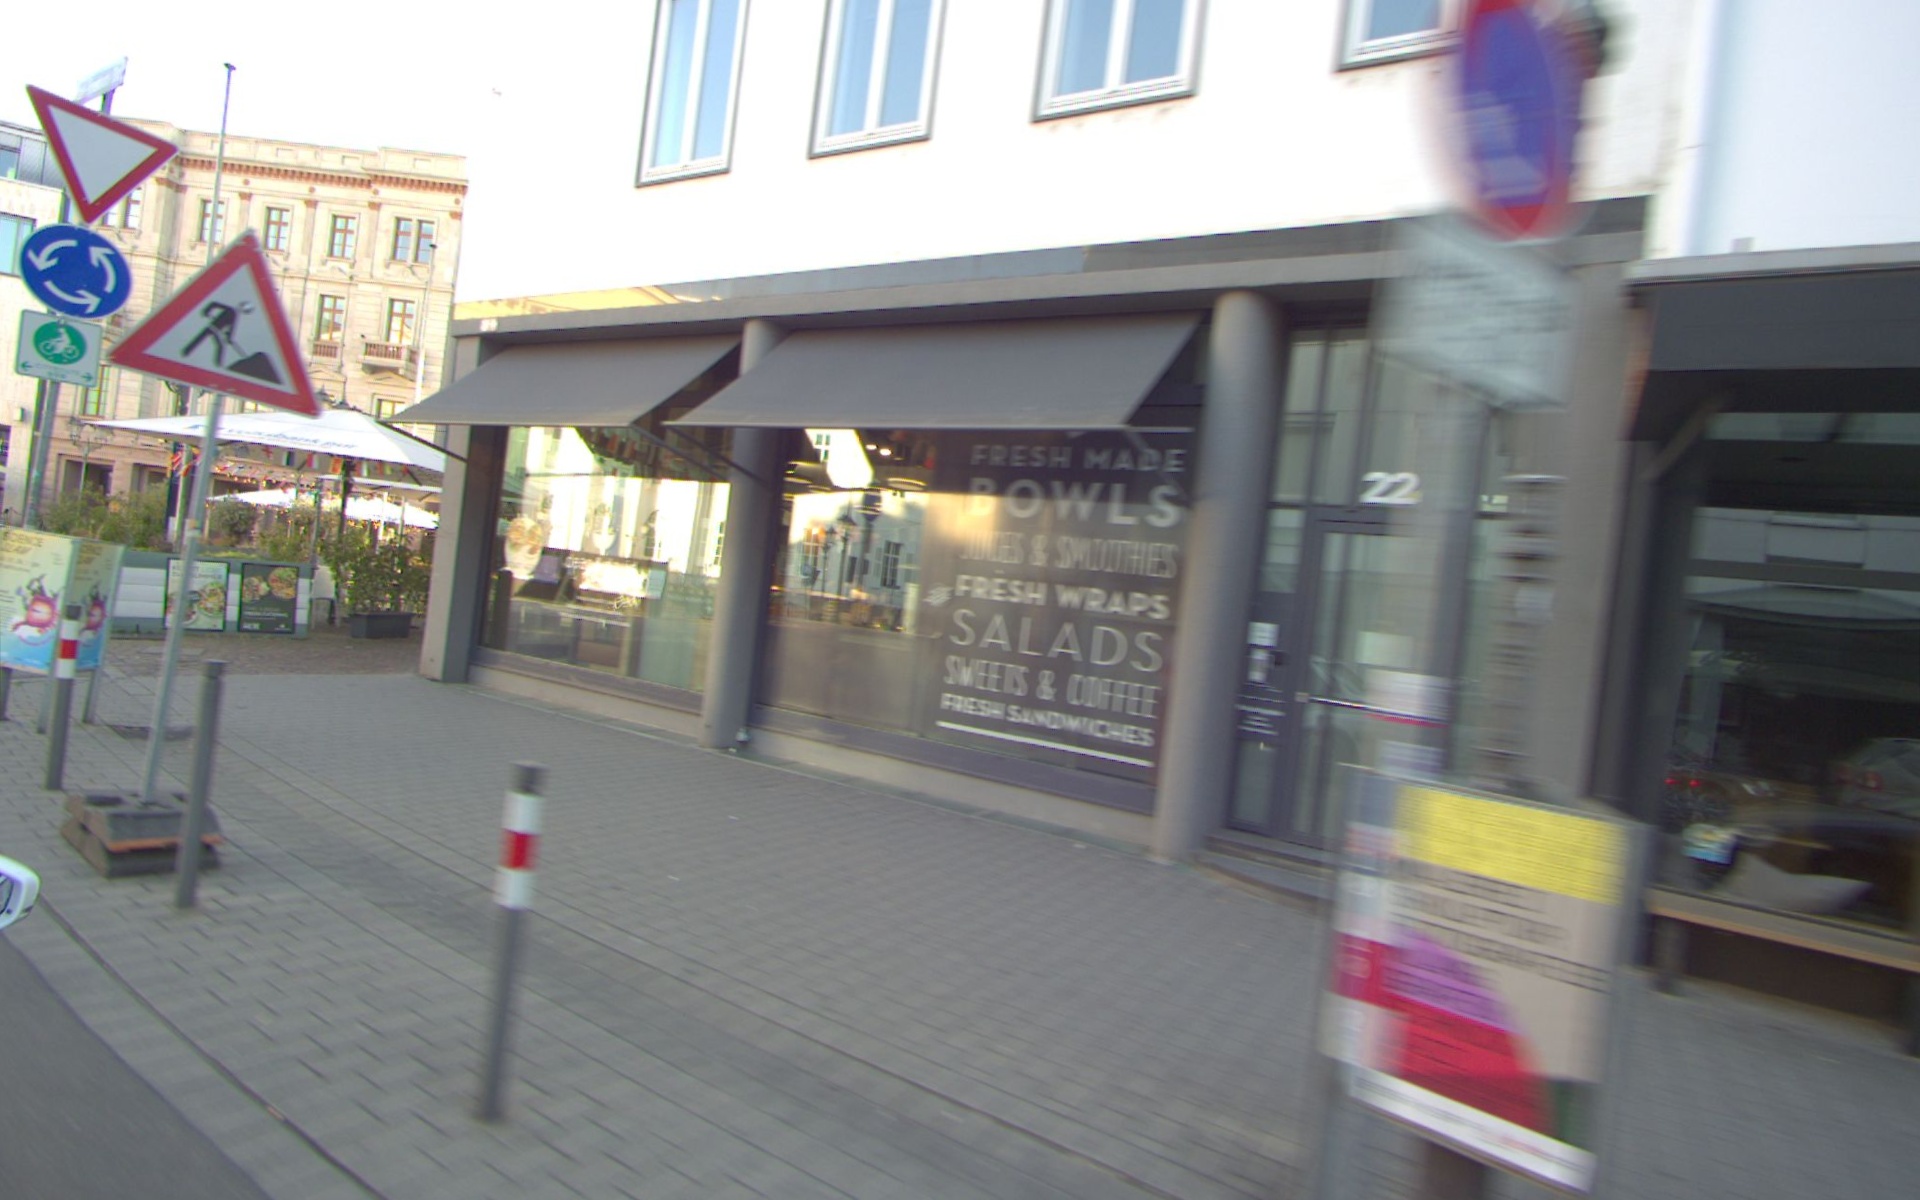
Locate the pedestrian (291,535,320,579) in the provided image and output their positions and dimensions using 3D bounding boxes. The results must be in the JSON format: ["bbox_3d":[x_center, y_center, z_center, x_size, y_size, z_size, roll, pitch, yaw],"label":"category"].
[{"bbox_3d":[-23.653,-1.545,36.360,0.614,1.496,0.544,7,0,33],"label":"pedestrian"}]

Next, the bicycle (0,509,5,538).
[{"bbox_3d":[-35.096,-2.818,36.057,0.613,1.044,1.637,7,-1,-22],"label":"bicycle"}]

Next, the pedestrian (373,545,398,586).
[{"bbox_3d":[-22.483,-1.343,39.377,0.616,1.496,0.542,7,0,43],"label":"pedestrian"}]

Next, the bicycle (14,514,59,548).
[{"bbox_3d":[-31.894,-2.384,34.763,0.501,1.044,1.637,7,-1,-22],"label":"bicycle"}]

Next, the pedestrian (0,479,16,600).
[{"bbox_3d":[-13.714,-0.894,13.897,0.684,1.667,0.691,7,0,31],"label":"pedestrian"}]

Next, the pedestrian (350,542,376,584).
[{"bbox_3d":[-22.971,-1.417,38.687,0.616,1.496,0.589,7,0,43],"label":"pedestrian"}]

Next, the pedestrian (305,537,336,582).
[{"bbox_3d":[-22.784,-1.446,35.864,0.673,1.496,0.587,7,0,35],"label":"pedestrian"}]
